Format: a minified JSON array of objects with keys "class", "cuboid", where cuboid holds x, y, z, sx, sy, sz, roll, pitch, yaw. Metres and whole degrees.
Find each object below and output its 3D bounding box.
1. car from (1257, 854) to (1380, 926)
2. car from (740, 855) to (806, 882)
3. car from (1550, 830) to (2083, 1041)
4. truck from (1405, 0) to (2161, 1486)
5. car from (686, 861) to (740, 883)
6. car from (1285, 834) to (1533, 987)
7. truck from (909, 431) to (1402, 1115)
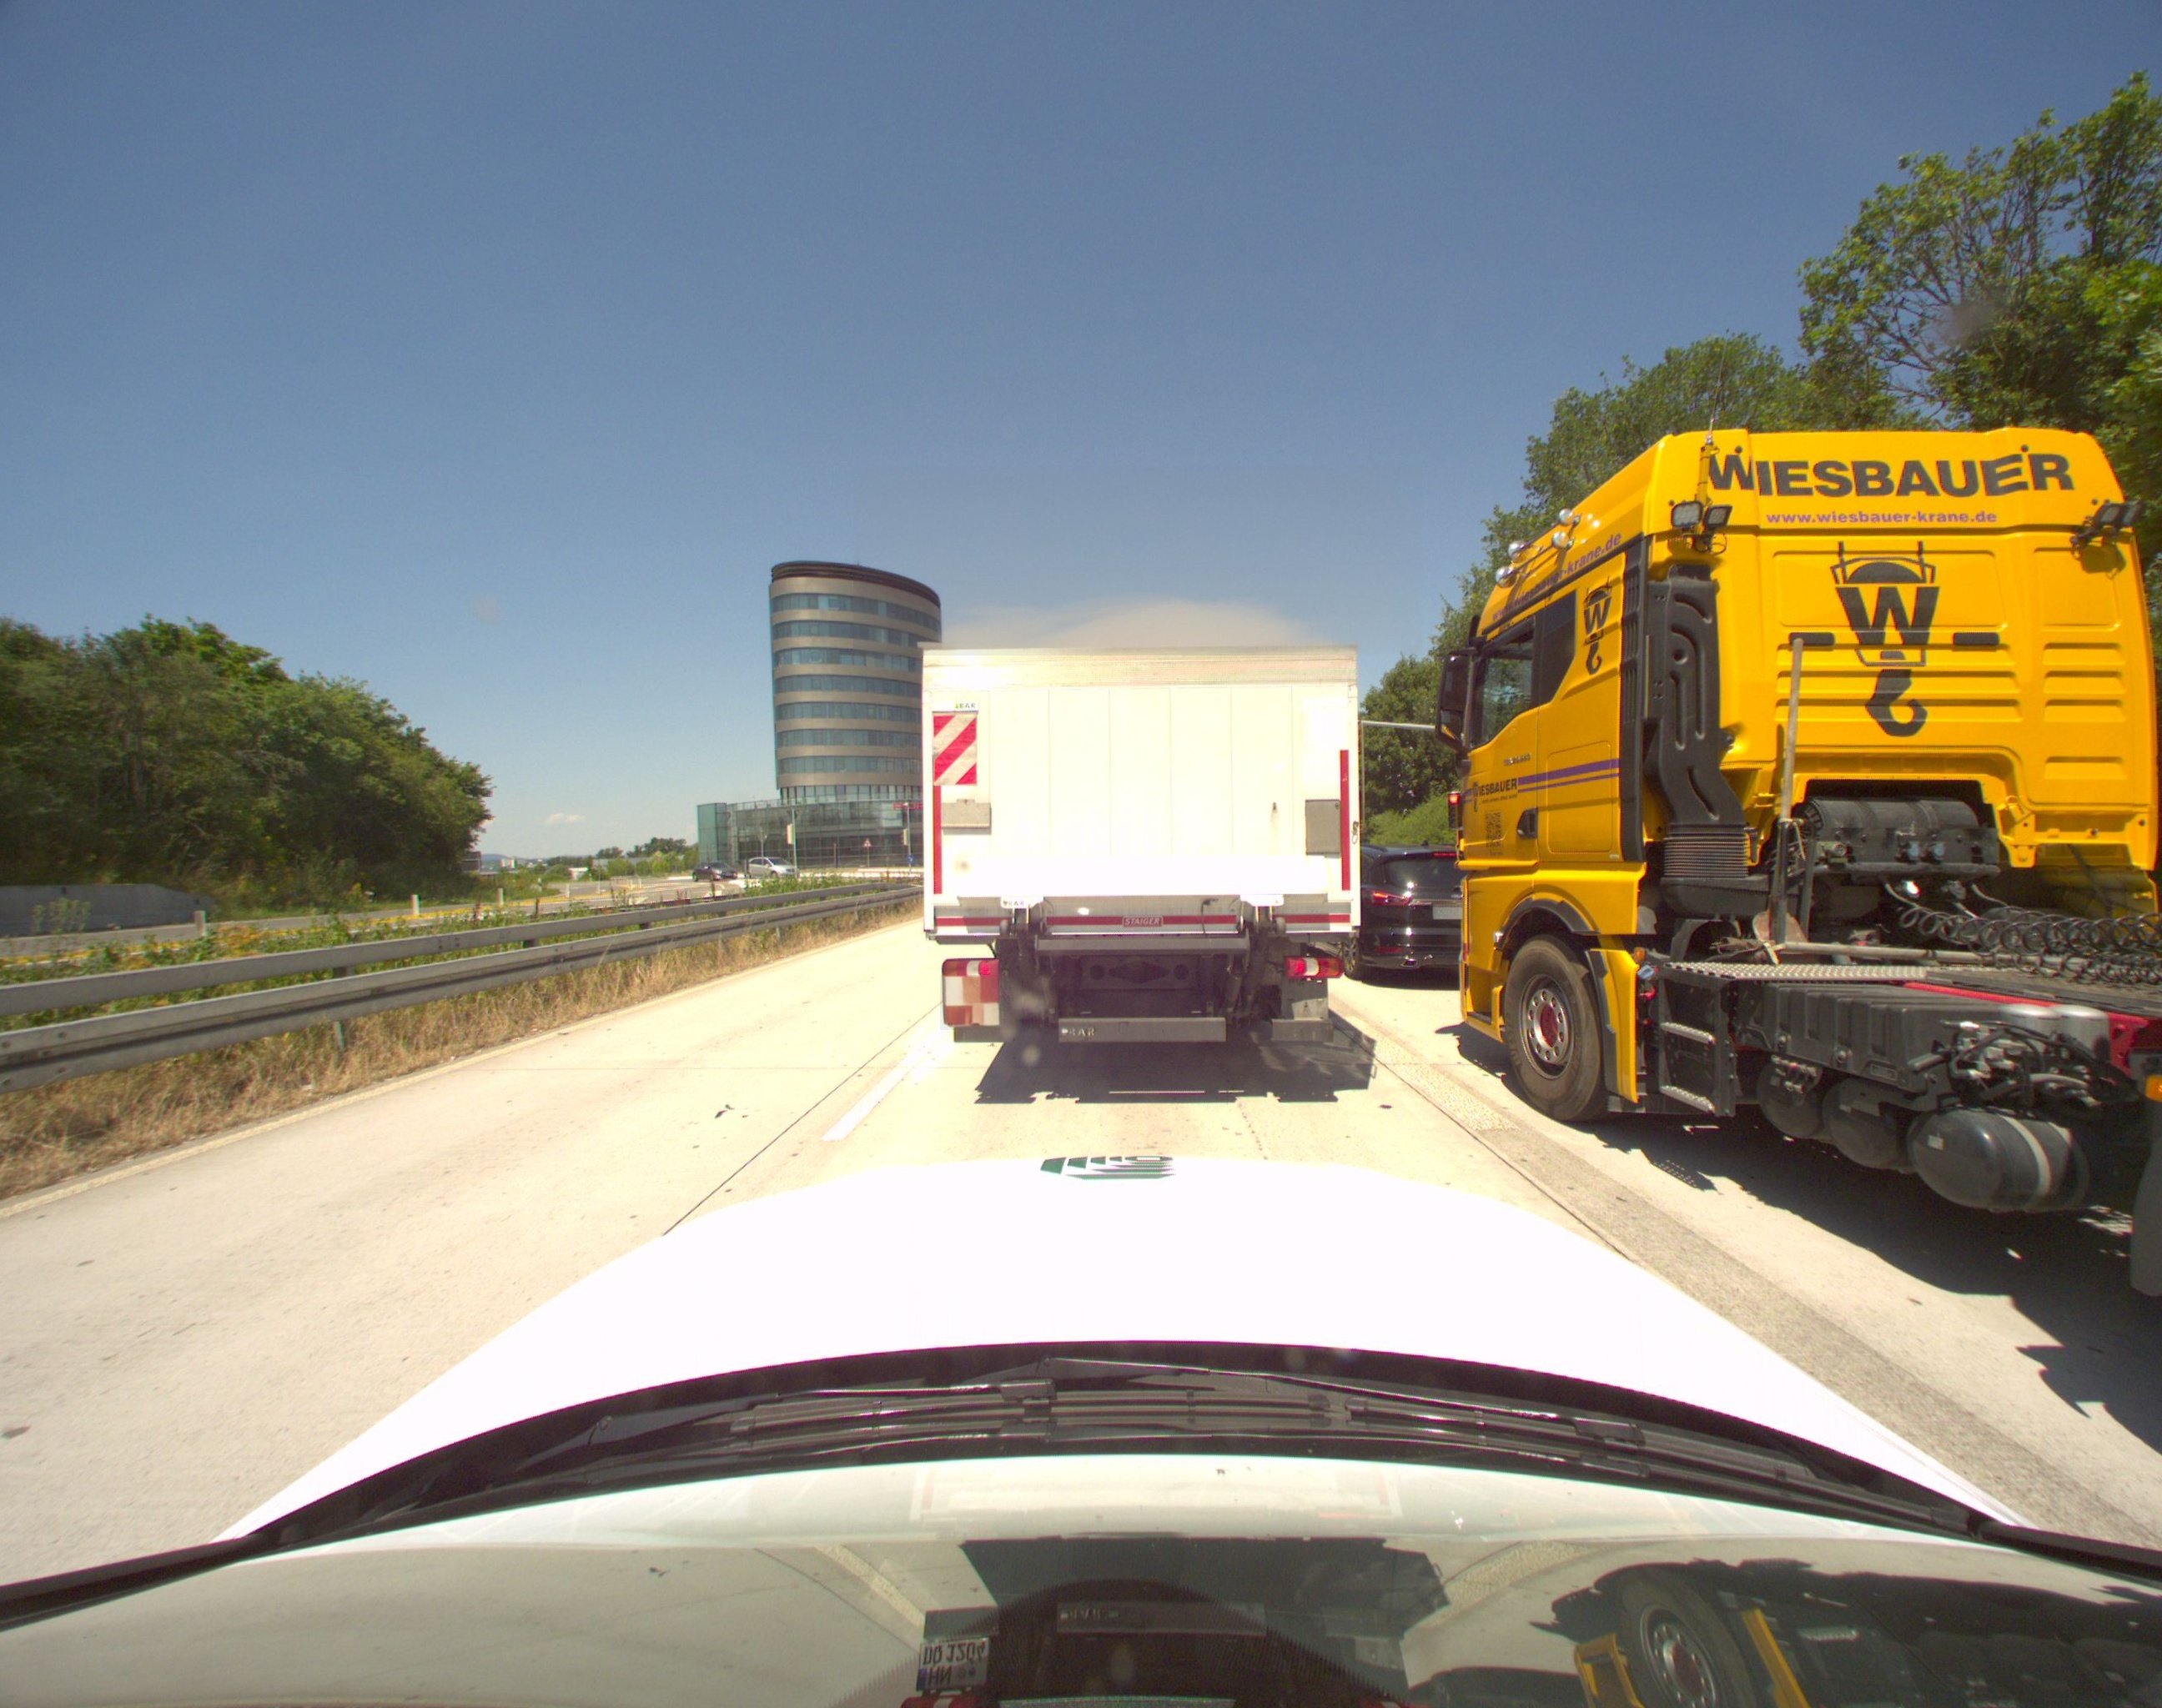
[{"class":"car","cuboid":[5.144,0.725,18.262,1.759,1.410,4.615,0,0,5]},{"class":"car","cuboid":[-20.662,0.977,54.579,4.274,1.595,1.788,-3,-2,29]},{"class":"car","cuboid":[7.738,0.717,9.425,1.763,1.807,4.789,0,0,-2]},{"class":"truck","cuboid":[3.937,-0.467,2.448,3.003,3.772,7.470,0,0,0]},{"class":"car","cuboid":[-26.728,1.300,59.100,4.273,1.456,1.708,-3,-2,37]},{"class":"car","cuboid":[4.115,0.626,11.112,1.776,1.639,4.652,0,0,4]},{"class":"truck","cuboid":[0.559,-0.426,9.303,2.759,3.860,9.374,0,0,2]}]
